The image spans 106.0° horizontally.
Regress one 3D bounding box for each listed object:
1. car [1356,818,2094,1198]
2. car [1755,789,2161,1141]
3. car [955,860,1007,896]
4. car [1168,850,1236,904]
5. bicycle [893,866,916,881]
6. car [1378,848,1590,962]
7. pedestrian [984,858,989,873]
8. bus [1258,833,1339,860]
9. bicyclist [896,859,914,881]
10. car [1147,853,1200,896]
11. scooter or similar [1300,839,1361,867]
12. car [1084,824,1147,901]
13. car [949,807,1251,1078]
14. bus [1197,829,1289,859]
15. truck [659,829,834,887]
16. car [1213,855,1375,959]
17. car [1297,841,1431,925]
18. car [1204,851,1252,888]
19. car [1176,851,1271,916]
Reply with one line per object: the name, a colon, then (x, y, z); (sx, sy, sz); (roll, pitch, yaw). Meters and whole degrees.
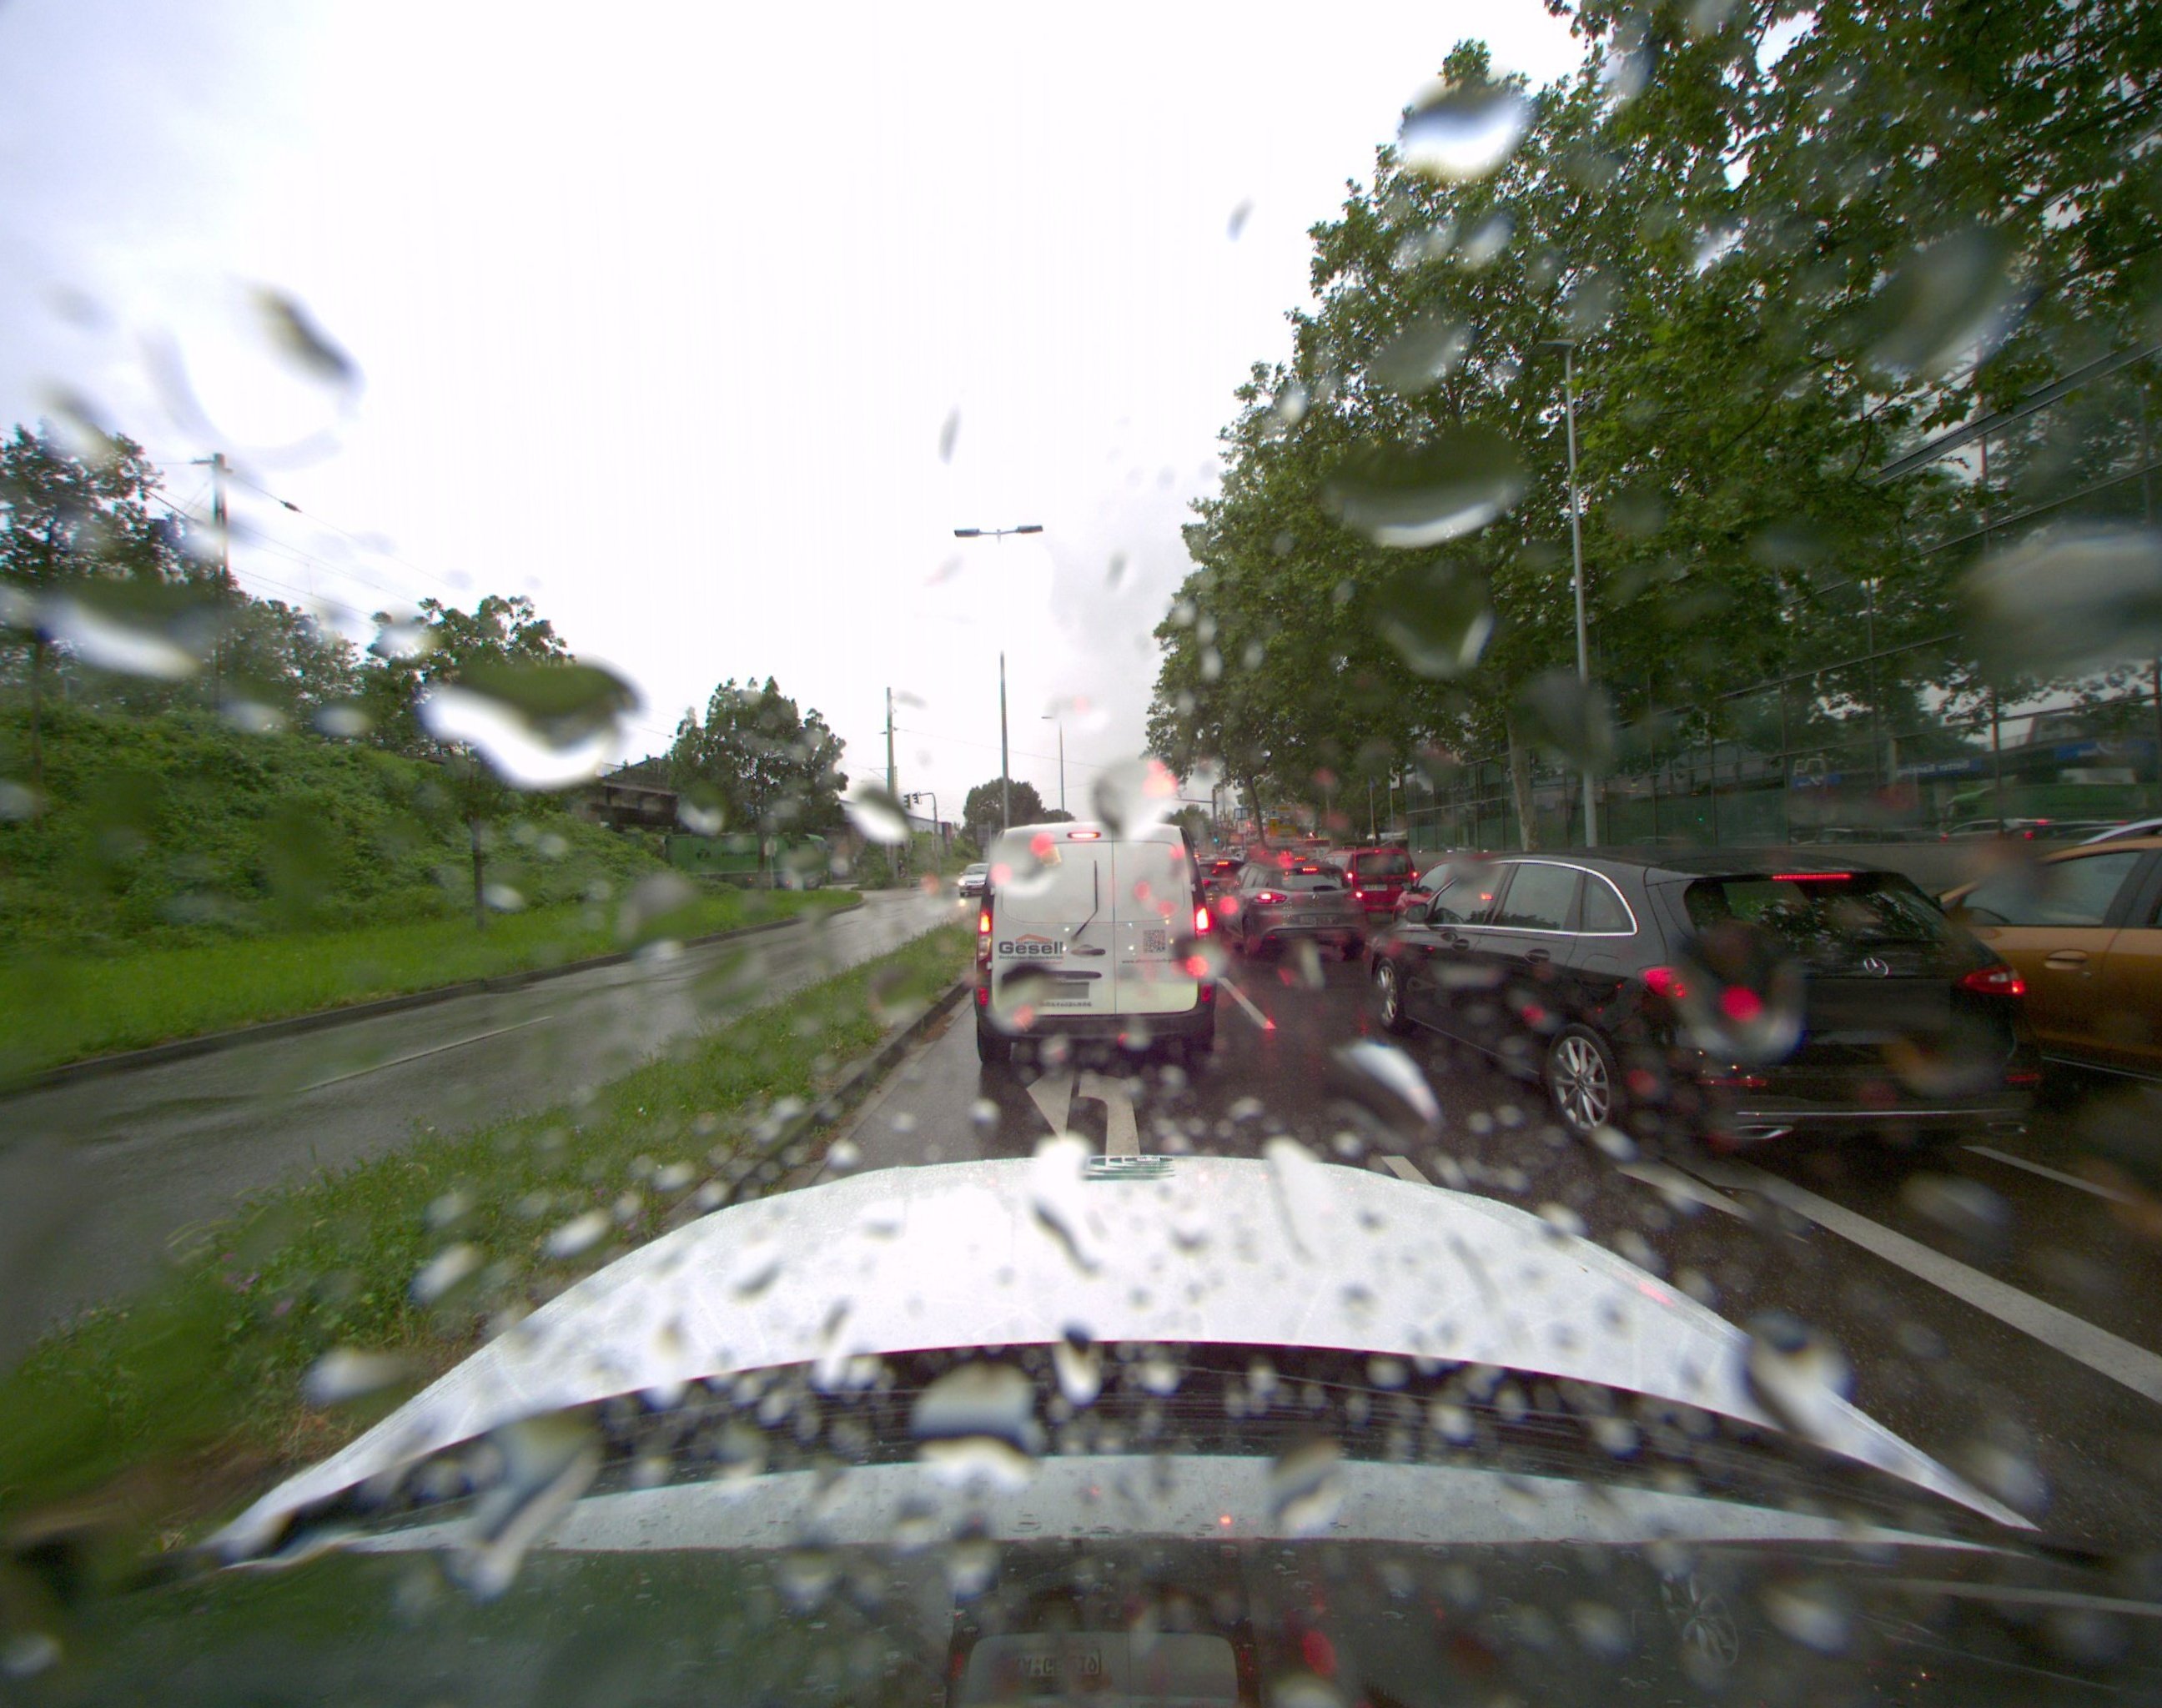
car: (3.380, 0.645, 5.448); (1.741, 1.554, 4.091); (-1, 0, 1)
car: (6.029, 0.534, 4.260); (1.668, 1.685, 4.149); (0, 1, 2)
car: (-4.714, 1.111, 38.965); (1.810, 1.462, 4.001); (-4, 0, 1)
car: (4.063, 0.726, 27.899); (1.847, 1.649, 3.844); (-1, 0, 2)
bicycle: (-12.139, 1.332, 56.015); (1.045, 0.952, 2.866); (-2, 0, -22)
car: (5.907, 0.667, 12.371); (1.563, 1.462, 3.390); (-1, 0, 1)
pedestrian: (-11.240, 1.368, 96.559); (0.541, 1.716, 0.563); (0, -1, -2)
bus: (31.193, -1.111, 116.473); (12.015, 3.423, 2.466); (-3, 0, -21)
bicyclist: (-12.127, 1.083, 55.994); (1.045, 1.450, 0.723); (-2, 0, -23)
car: (3.758, 0.811, 33.573); (1.847, 1.650, 3.844); (-1, -1, 2)
scooter or similar: (23.451, -0.083, 76.685); (1.905, 2.446, 5.257); (-1, 0, -39)
car: (1.105, 0.253, 26.537); (1.847, 2.296, 3.844); (-1, 0, 2)
car: (0.197, 0.587, 7.771); (1.986, 1.776, 4.587); (-1, 0, 2)
bus: (21.892, -1.354, 110.590); (11.926, 3.423, 2.316); (-2, 0, 1)
truck: (-21.307, 0.169, 52.361); (10.105, 3.371, 2.322); (-2, 0, -35)
car: (3.261, 0.736, 13.177); (1.677, 1.408, 3.844); (0, 0, 1)
car: (6.313, 0.614, 18.677); (1.704, 1.694, 4.273); (0, -1, 2)
car: (6.907, 0.708, 38.560); (1.702, 1.650, 3.844); (-1, -1, 2)
car: (3.505, 0.676, 20.680); (1.847, 1.460, 3.844); (-1, 0, 2)
